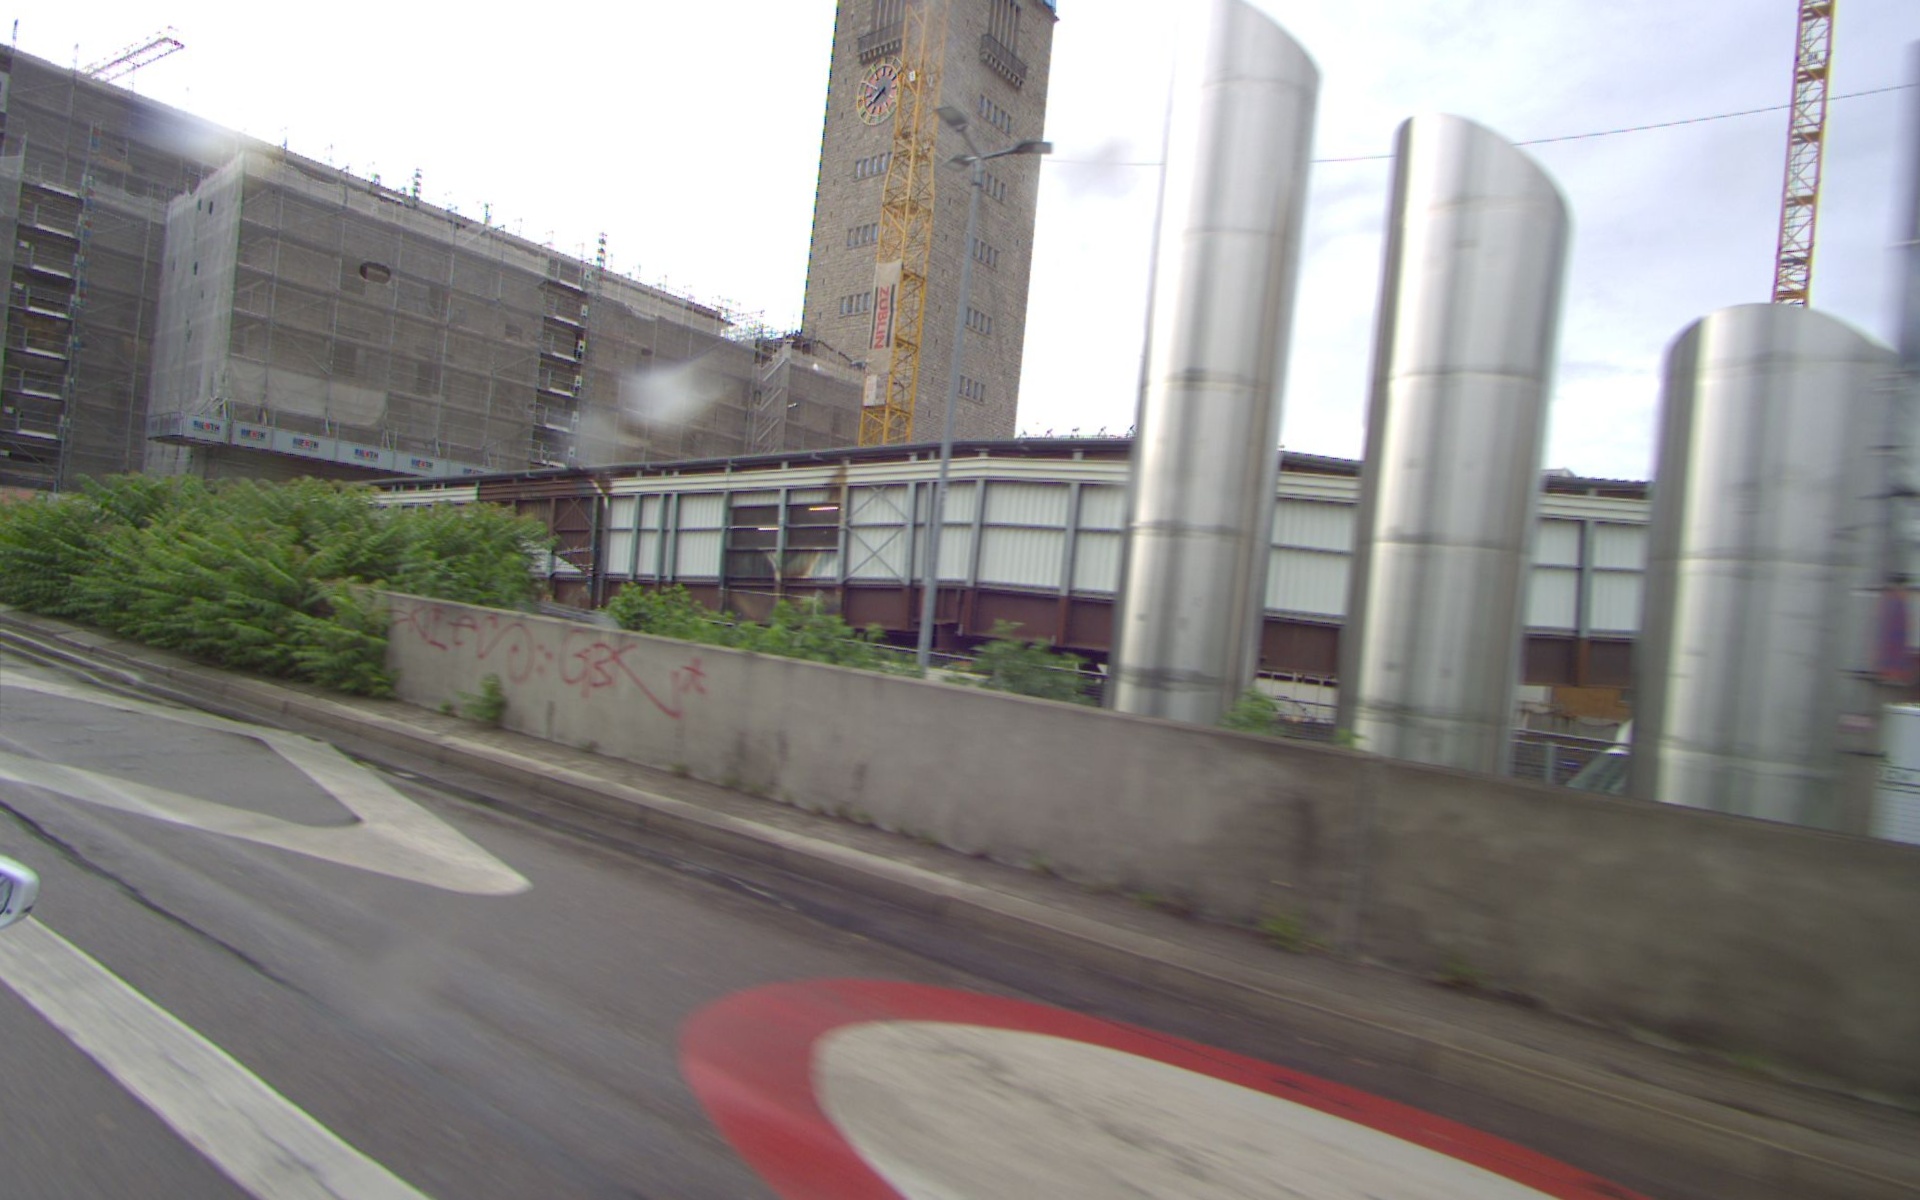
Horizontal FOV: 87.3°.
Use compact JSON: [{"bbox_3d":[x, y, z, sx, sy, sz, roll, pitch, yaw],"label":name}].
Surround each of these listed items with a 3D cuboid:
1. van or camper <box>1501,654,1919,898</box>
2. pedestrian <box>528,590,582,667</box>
[{"bbox_3d":[11.148,2.433,13.935,5.961,2.433,2.380,8,2,-9],"label":"van or camper"},{"bbox_3d":[-10.622,0.749,26.387,0.998,1.855,0.672,7,1,32],"label":"pedestrian"}]
